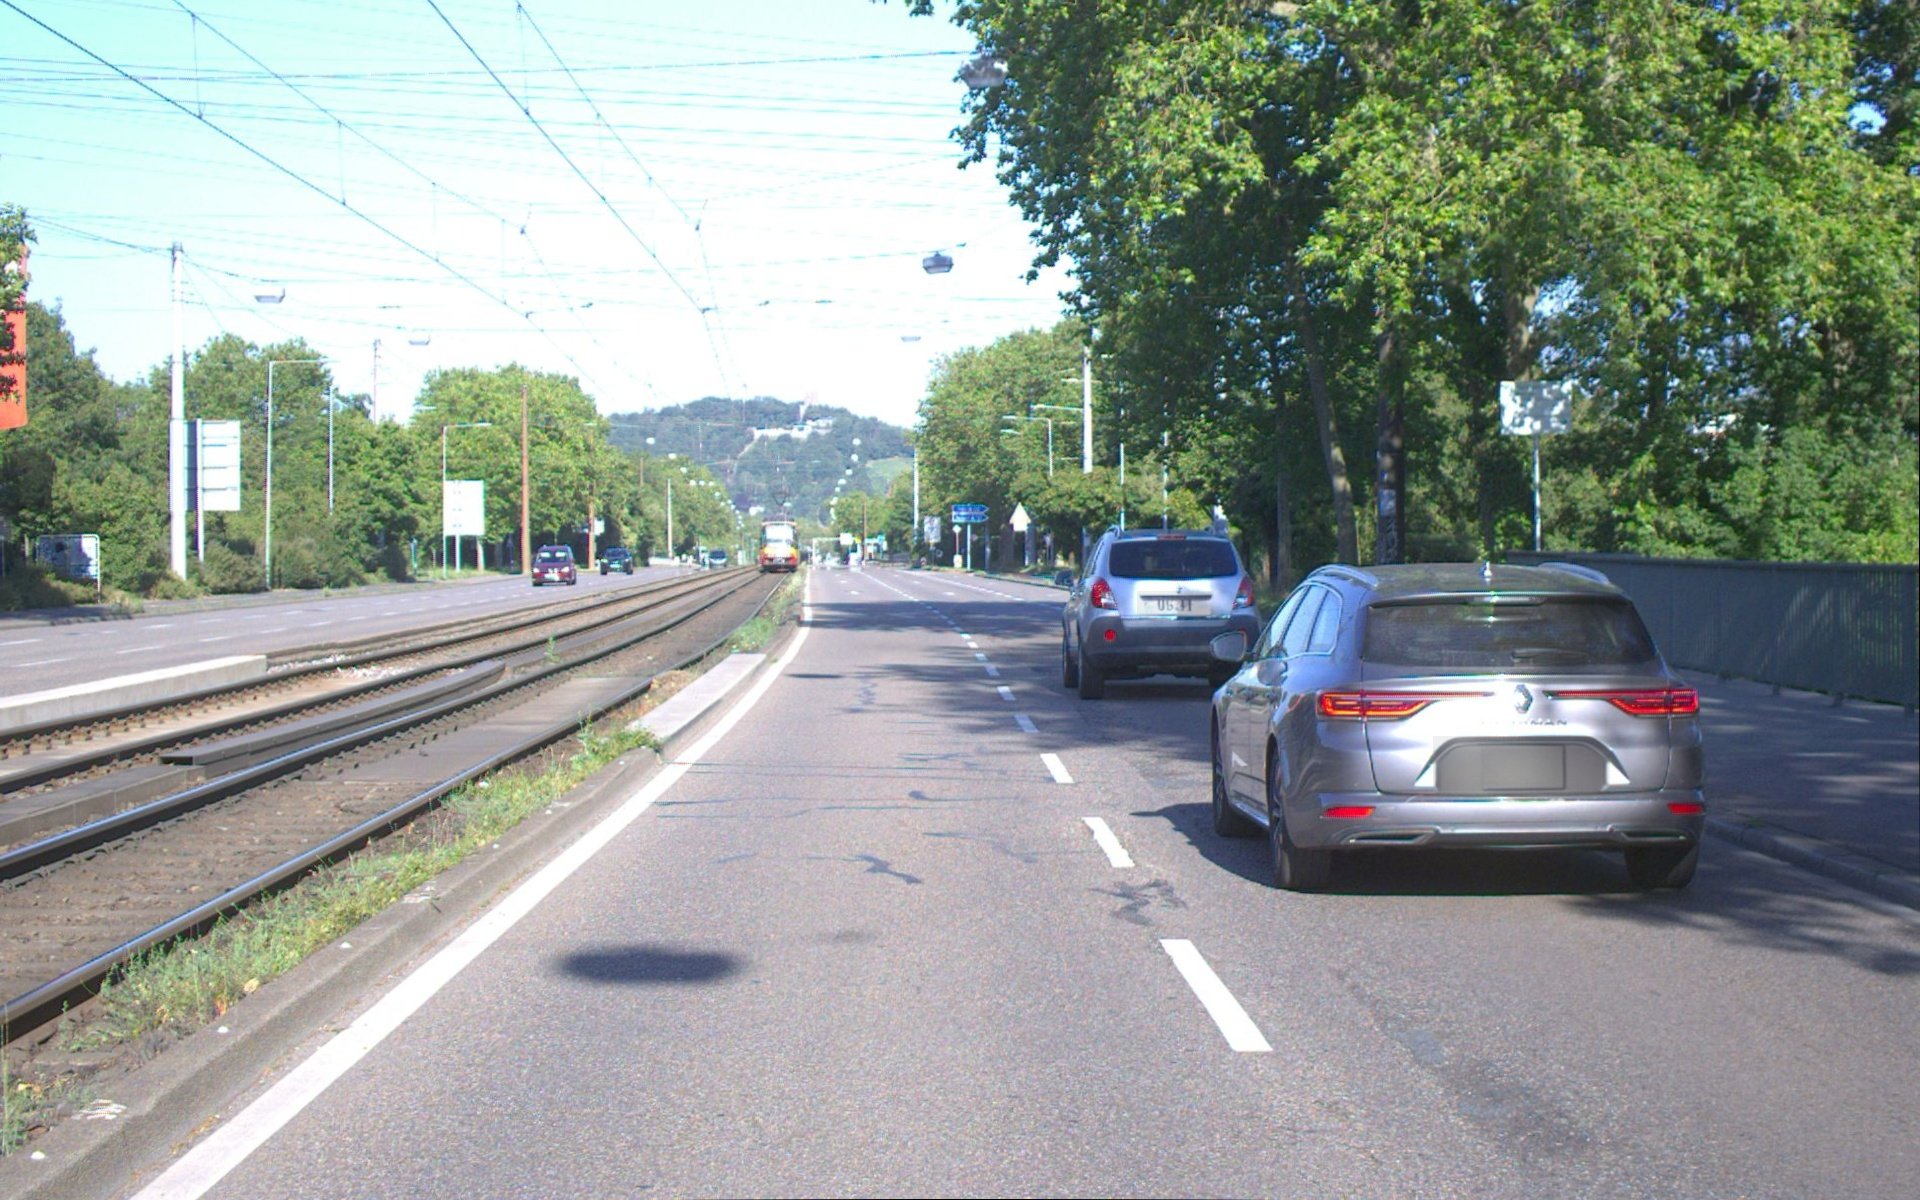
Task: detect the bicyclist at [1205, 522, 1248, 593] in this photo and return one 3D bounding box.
[{"bbox_3d":[5.601,-0.900,72.218,0.795,1.455,1.112,-2,1,2],"label":"bicyclist"}]

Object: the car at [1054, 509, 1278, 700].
[{"bbox_3d":[2.067,-0.006,35.600,1.883,1.789,4.001,2,2,-2],"label":"car"}]

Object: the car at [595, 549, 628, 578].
[{"bbox_3d":[-21.917,-2.292,216.160,1.905,1.638,4.001,2,2,-4],"label":"car"}]

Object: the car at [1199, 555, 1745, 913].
[{"bbox_3d":[2.276,0.524,16.530,1.866,1.462,4.666,0,1,-1],"label":"car"}]

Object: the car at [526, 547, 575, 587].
[{"bbox_3d":[-18.651,-1.511,156.540,1.862,1.714,4.001,0,2,-2],"label":"car"}]

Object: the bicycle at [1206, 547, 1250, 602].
[{"bbox_3d":[5.620,-0.548,72.243,0.795,1.090,1.894,-2,1,2],"label":"bicycle"}]
